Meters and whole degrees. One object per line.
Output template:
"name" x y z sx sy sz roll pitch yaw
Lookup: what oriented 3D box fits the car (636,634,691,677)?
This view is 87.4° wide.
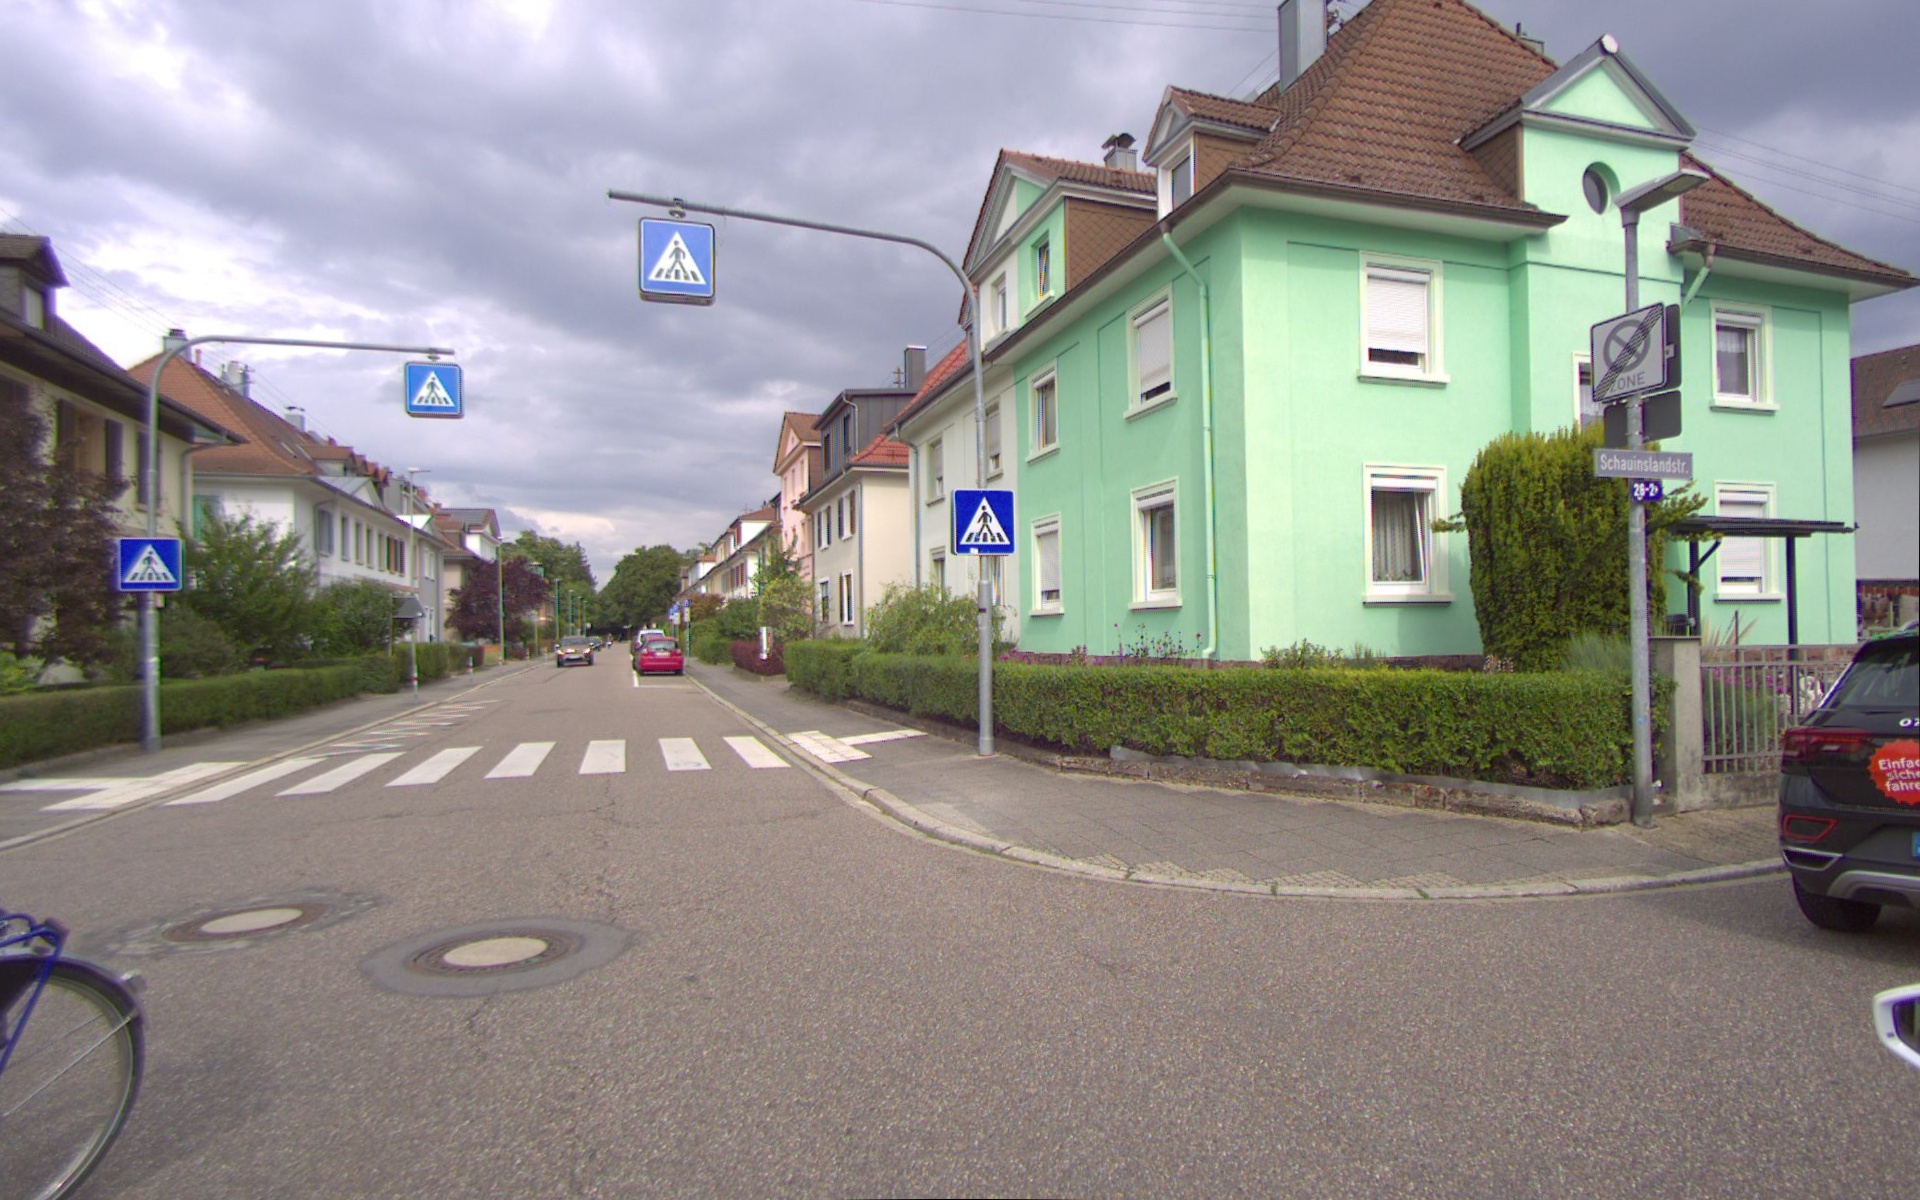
"car" -11.989 2.190 40.444 1.969 1.594 3.984 -1 -2 -19

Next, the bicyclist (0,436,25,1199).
"bicyclist" -2.453 0.514 1.769 0.685 1.688 0.975 -1 0 23

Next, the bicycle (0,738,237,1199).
"bicycle" -2.457 0.954 1.724 0.694 1.167 1.872 -1 0 23

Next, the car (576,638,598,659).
"car" -38.196 4.966 103.001 1.969 2.040 3.984 0 -2 -18

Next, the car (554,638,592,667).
"car" -21.097 2.857 54.867 1.808 1.505 3.983 1 -2 -19

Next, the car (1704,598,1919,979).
"car" 5.677 0.782 4.971 3.997 1.539 1.807 1 -3 -31

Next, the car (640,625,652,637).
"car" -52.747 5.182 168.642 1.969 2.040 3.985 1 -2 -18

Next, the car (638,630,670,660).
"car" -20.502 2.998 67.194 1.969 1.929 3.984 -1 -2 -19

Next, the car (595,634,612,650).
"car" -42.330 4.989 119.463 1.783 1.904 3.934 -1 -2 -18

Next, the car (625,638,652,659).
"car" -25.806 3.893 80.499 1.969 1.594 3.984 -1 -2 -19
